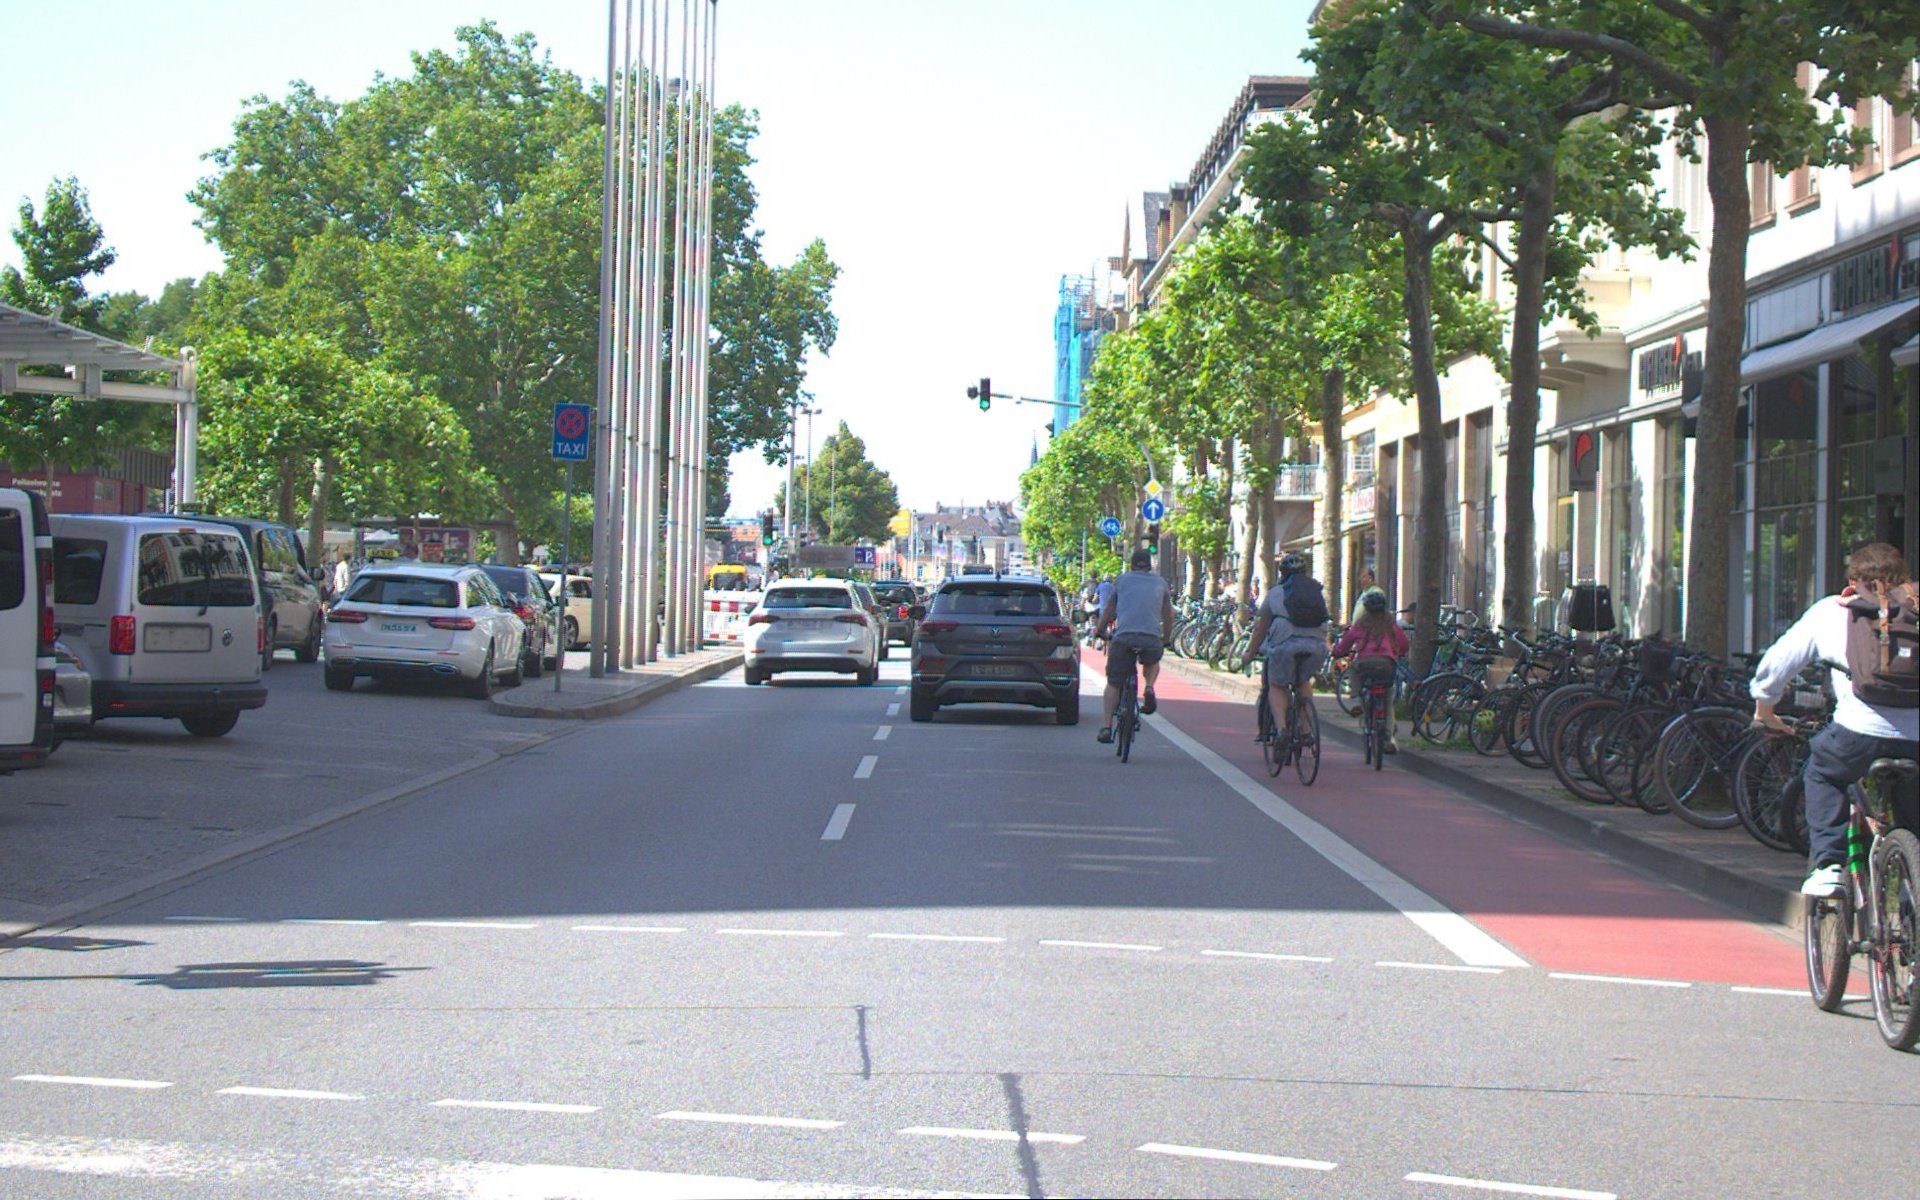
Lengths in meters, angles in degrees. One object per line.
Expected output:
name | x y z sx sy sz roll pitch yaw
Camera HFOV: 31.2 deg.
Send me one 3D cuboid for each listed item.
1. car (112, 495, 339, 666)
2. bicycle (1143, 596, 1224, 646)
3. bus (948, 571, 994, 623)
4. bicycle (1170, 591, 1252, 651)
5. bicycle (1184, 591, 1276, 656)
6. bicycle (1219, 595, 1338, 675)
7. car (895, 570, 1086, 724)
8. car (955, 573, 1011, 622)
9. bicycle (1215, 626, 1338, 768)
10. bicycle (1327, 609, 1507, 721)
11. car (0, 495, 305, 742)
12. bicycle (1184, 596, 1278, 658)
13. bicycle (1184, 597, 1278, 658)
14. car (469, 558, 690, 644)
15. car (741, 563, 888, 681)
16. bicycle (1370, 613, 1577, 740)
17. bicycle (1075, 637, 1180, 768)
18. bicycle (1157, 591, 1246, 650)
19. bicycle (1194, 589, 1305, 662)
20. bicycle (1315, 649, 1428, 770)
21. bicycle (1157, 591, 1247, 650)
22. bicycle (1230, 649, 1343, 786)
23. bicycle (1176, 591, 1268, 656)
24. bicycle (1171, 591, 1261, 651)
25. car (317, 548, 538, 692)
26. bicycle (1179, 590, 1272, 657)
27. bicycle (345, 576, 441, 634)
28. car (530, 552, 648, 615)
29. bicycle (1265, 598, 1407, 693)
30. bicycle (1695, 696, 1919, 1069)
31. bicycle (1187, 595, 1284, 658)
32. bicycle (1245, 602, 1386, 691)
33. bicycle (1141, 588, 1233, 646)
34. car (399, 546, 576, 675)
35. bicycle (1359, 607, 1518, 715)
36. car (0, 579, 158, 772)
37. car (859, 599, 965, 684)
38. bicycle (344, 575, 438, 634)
car | -9.288 -0.256 43.826 1.832 2.007 4.685 2 0 0
bicycle | 5.102 0.471 78.590 1.781 1.118 0.563 1 0 -3
bus | 0.746 -0.191 246.497 2.995 3.582 11.745 2 0 -1
bicycle | 5.227 0.434 71.570 1.649 1.197 0.474 2 0 3
bicycle | 5.239 0.459 66.838 1.728 1.213 0.477 2 0 3
bicycle | 5.092 0.556 54.996 1.840 1.182 0.670 3 0 5
car | 0.276 0.462 37.074 1.845 1.554 4.000 0 0 -2
car | 0.802 -0.108 123.727 1.845 1.662 4.000 3 0 -1
bicycle | 2.713 0.820 29.685 0.698 1.123 2.081 3 0 -3
bicycle | 5.065 0.720 38.141 1.839 1.123 0.497 3 1 -8
car | -7.796 0.083 28.844 4.441 1.903 2.005 2 1 37
bicycle | 5.109 0.508 64.843 1.728 1.105 0.402 2 0 3
bicycle | 5.143 0.523 65.262 1.728 1.105 0.477 2 0 3
car | -7.384 -0.013 67.231 1.894 1.536 4.854 2 2 27
car | -1.982 0.280 47.734 1.845 1.554 4.000 1 0 0
bicycle | 5.031 0.743 33.686 1.839 1.123 0.632 4 -1 -10
bicycle | 1.401 0.849 29.127 0.774 1.002 2.329 1 0 0
bicycle | 5.154 0.430 73.296 1.844 1.197 0.608 2 0 3
bicycle | 5.218 0.459 62.094 1.931 1.244 0.736 2 0 3
bicycle | 3.501 0.922 29.406 0.600 0.922 2.088 0 1 -3
bicycle | 5.117 0.425 72.790 1.844 1.197 0.544 2 0 3
bicycle | 2.512 0.889 26.607 0.630 0.976 2.089 1 0 -1
bicycle | 5.054 0.451 66.349 1.728 1.213 0.477 2 0 3
bicycle | 5.355 0.437 71.982 1.844 1.197 0.474 2 0 3
car | -6.168 0.181 40.337 1.799 1.518 4.739 2 1 0
bicycle | 5.062 0.444 65.624 1.728 1.213 0.477 2 0 3
bicycle | -11.209 0.095 68.008 1.781 1.101 0.563 2 0 -3
car | -12.233 -0.517 113.539 1.861 1.948 4.755 1 0 21
bicycle | 5.056 0.603 46.167 1.840 1.193 0.673 2 0 7
bicycle | 3.241 0.950 12.103 0.698 1.123 2.081 3 0 -3
bicycle | 5.083 0.494 63.577 1.728 1.105 0.736 2 0 3
bicycle | 4.889 0.635 47.234 1.841 1.123 0.497 3 0 11
bicycle | 5.127 0.384 77.710 1.932 1.253 0.705 2 0 -19
car | -6.280 0.116 46.136 1.761 1.594 4.710 2 0 -1
bicycle | 5.544 0.708 39.803 1.774 1.193 0.578 2 0 -27
car | -8.140 0.434 24.992 4.292 1.282 1.967 3 1 31
car | -0.870 0.731 62.578 1.845 1.444 4.000 0 0 -1
bicycle | -11.363 0.088 68.698 1.781 1.128 0.563 2 0 -3
